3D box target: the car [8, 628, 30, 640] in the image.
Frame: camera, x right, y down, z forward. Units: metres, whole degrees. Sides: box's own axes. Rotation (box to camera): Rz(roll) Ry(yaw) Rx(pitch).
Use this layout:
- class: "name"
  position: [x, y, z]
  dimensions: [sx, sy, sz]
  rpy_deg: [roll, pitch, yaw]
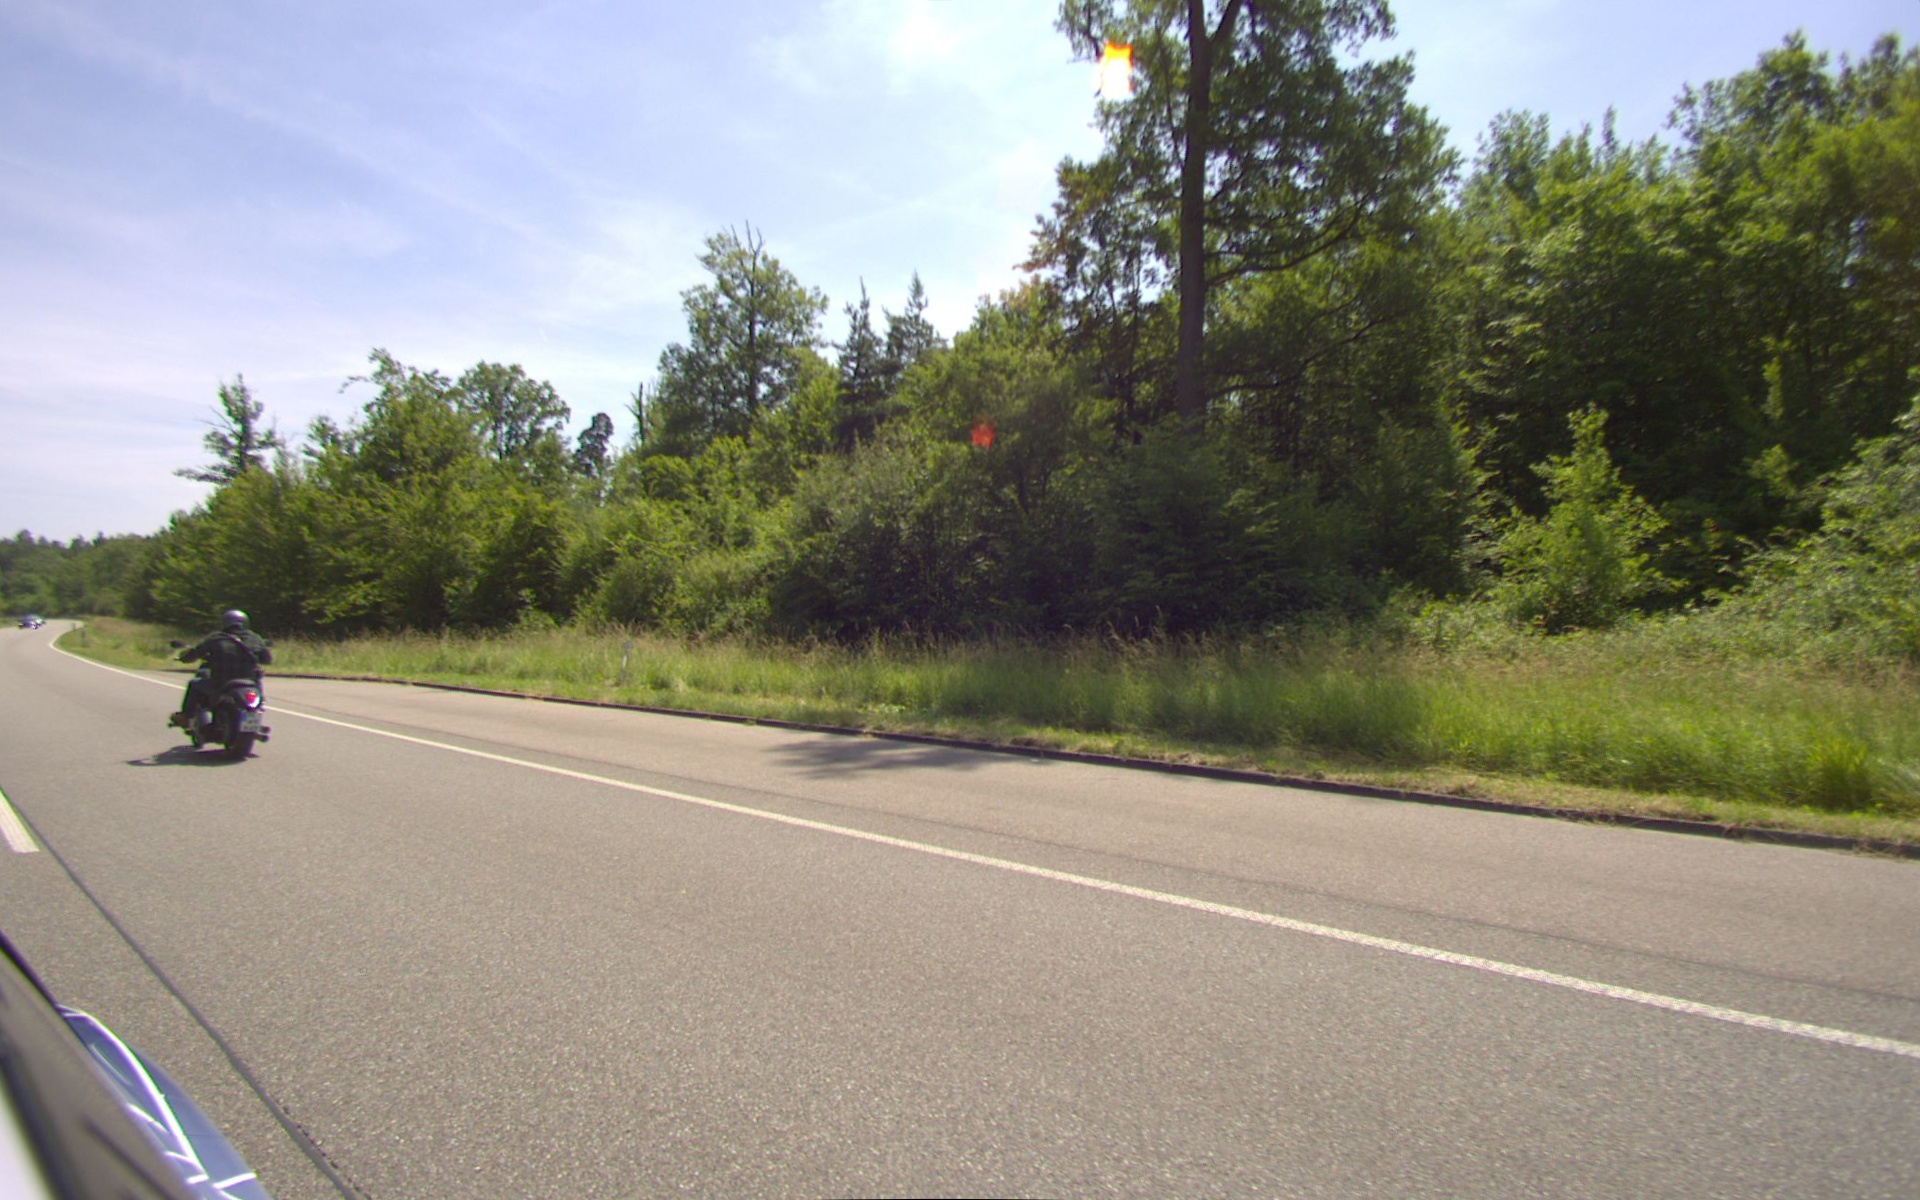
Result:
- class: "car"
  position: [-120.967, 4.358, 130.102]
  dimensions: [1.749, 1.474, 4.008]
  rpy_deg: [0, -1, -38]

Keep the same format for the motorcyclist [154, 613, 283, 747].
- class: "motorcyclist"
  position: [-8.036, 0.825, 10.964]
  dimensions: [0.998, 1.337, 0.966]
  rpy_deg: [0, -1, -44]

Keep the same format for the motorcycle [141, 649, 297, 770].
- class: "motorcycle"
  position: [-8.144, 1.116, 11.053]
  dimensions: [1.002, 1.071, 2.774]
  rpy_deg: [0, -1, -44]
